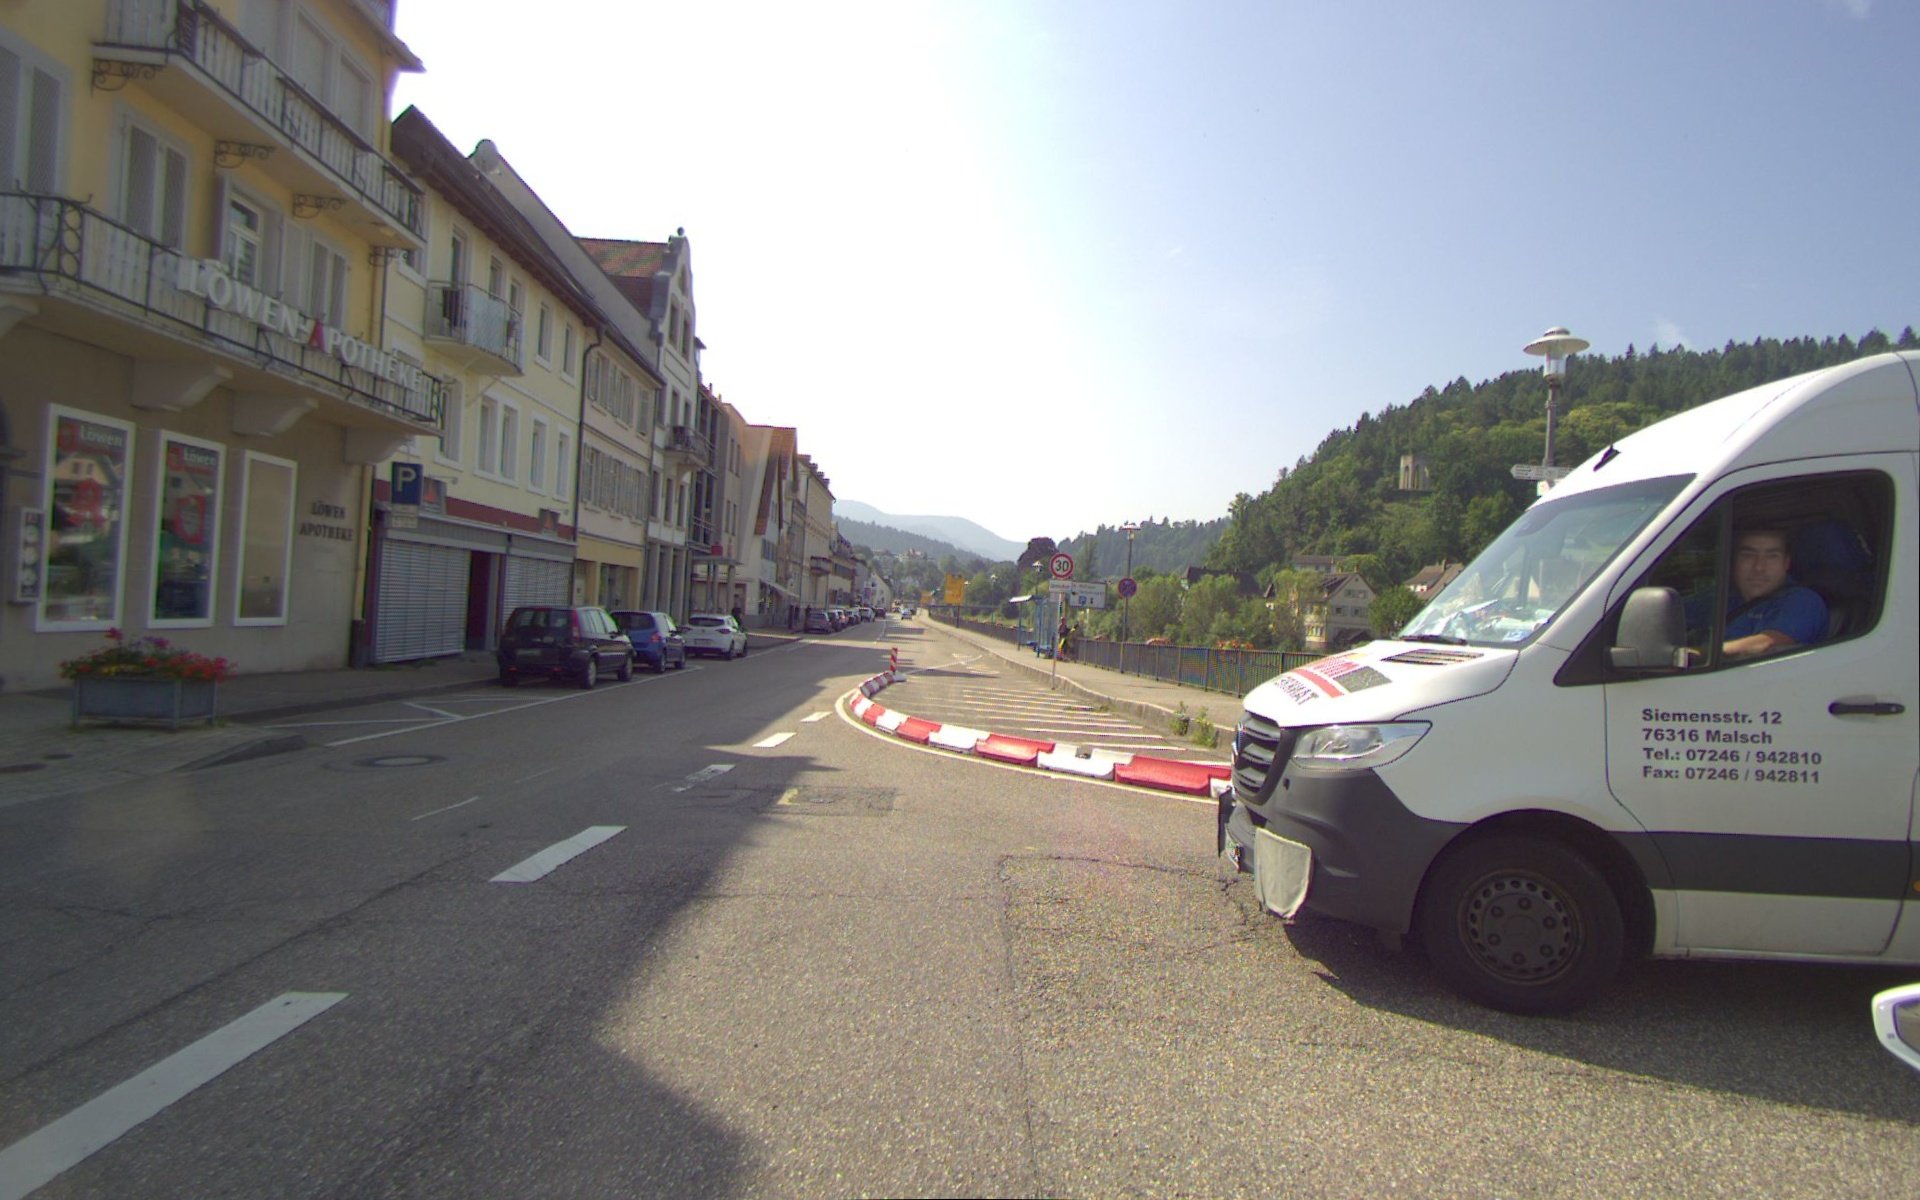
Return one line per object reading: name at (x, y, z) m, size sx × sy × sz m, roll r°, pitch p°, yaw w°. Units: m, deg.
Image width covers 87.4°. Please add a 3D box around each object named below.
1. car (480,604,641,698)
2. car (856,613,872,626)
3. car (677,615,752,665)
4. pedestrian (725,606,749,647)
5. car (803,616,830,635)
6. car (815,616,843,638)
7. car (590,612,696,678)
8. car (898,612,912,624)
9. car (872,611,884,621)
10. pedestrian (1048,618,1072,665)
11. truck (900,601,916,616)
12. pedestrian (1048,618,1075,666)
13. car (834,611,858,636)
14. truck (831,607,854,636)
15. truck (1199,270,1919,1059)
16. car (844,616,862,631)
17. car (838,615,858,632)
car at (-7.629, 0.927, 19.561) m, size 1.817 × 1.589 × 3.566 m, roll 3°, pitch -1°, yaw -3°
car at (-11.810, 2.388, 123.873) m, size 1.719 × 1.467 × 3.275 m, roll 3°, pitch -1°, yaw -3°
car at (-8.092, 1.279, 33.384) m, size 1.719 × 1.467 × 3.793 m, roll 3°, pitch -1°, yaw -3°
pedestrian at (-9.662, 1.143, 43.546) m, size 0.678 × 1.719 × 0.659 m, roll 2°, pitch -1°, yaw 25°
car at (-9.847, 1.731, 69.054) m, size 1.538 × 1.236 × 3.275 m, roll 3°, pitch -1°, yaw -3°
car at (-9.748, 1.992, 74.873) m, size 1.719 × 1.467 × 3.275 m, roll 3°, pitch -1°, yaw -3°
car at (-7.820, 1.077, 25.071) m, size 1.719 × 1.467 × 3.275 m, roll 3°, pitch -1°, yaw -3°
car at (-8.323, 2.716, 152.792) m, size 1.961 × 1.684 × 3.999 m, roll 4°, pitch 0°, yaw -2°
car at (-12.857, 2.484, 157.689) m, size 1.719 × 1.467 × 3.275 m, roll 3°, pitch -1°, yaw -3°
pedestrian at (3.846, 1.594, 38.771) m, size 0.776 × 1.728 × 0.491 m, roll 3°, pitch 0°, yaw -1°
truck at (-12.103, 1.936, 235.525) m, size 3.020 × 3.307 × 9.207 m, roll 3°, pitch -1°, yaw 1°
pedestrian at (3.840, 1.587, 38.116) m, size 0.852 × 1.728 × 0.777 m, roll 3°, pitch 0°, yaw -1°
car at (-9.694, 1.973, 85.769) m, size 1.719 × 1.960 × 3.575 m, roll 3°, pitch -1°, yaw -3°
truck at (-10.732, 1.959, 91.728) m, size 1.719 × 2.500 × 4.659 m, roll 3°, pitch -1°, yaw -3°
truck at (4.753, 0.268, 4.373) m, size 6.988 × 2.734 × 2.113 m, roll 1°, pitch -1°, yaw 7°
car at (-11.057, 2.409, 104.032) m, size 1.719 × 1.467 × 3.275 m, roll 3°, pitch -1°, yaw -3°
car at (-10.861, 2.280, 97.829) m, size 1.719 × 1.467 × 3.275 m, roll 3°, pitch -1°, yaw -3°
